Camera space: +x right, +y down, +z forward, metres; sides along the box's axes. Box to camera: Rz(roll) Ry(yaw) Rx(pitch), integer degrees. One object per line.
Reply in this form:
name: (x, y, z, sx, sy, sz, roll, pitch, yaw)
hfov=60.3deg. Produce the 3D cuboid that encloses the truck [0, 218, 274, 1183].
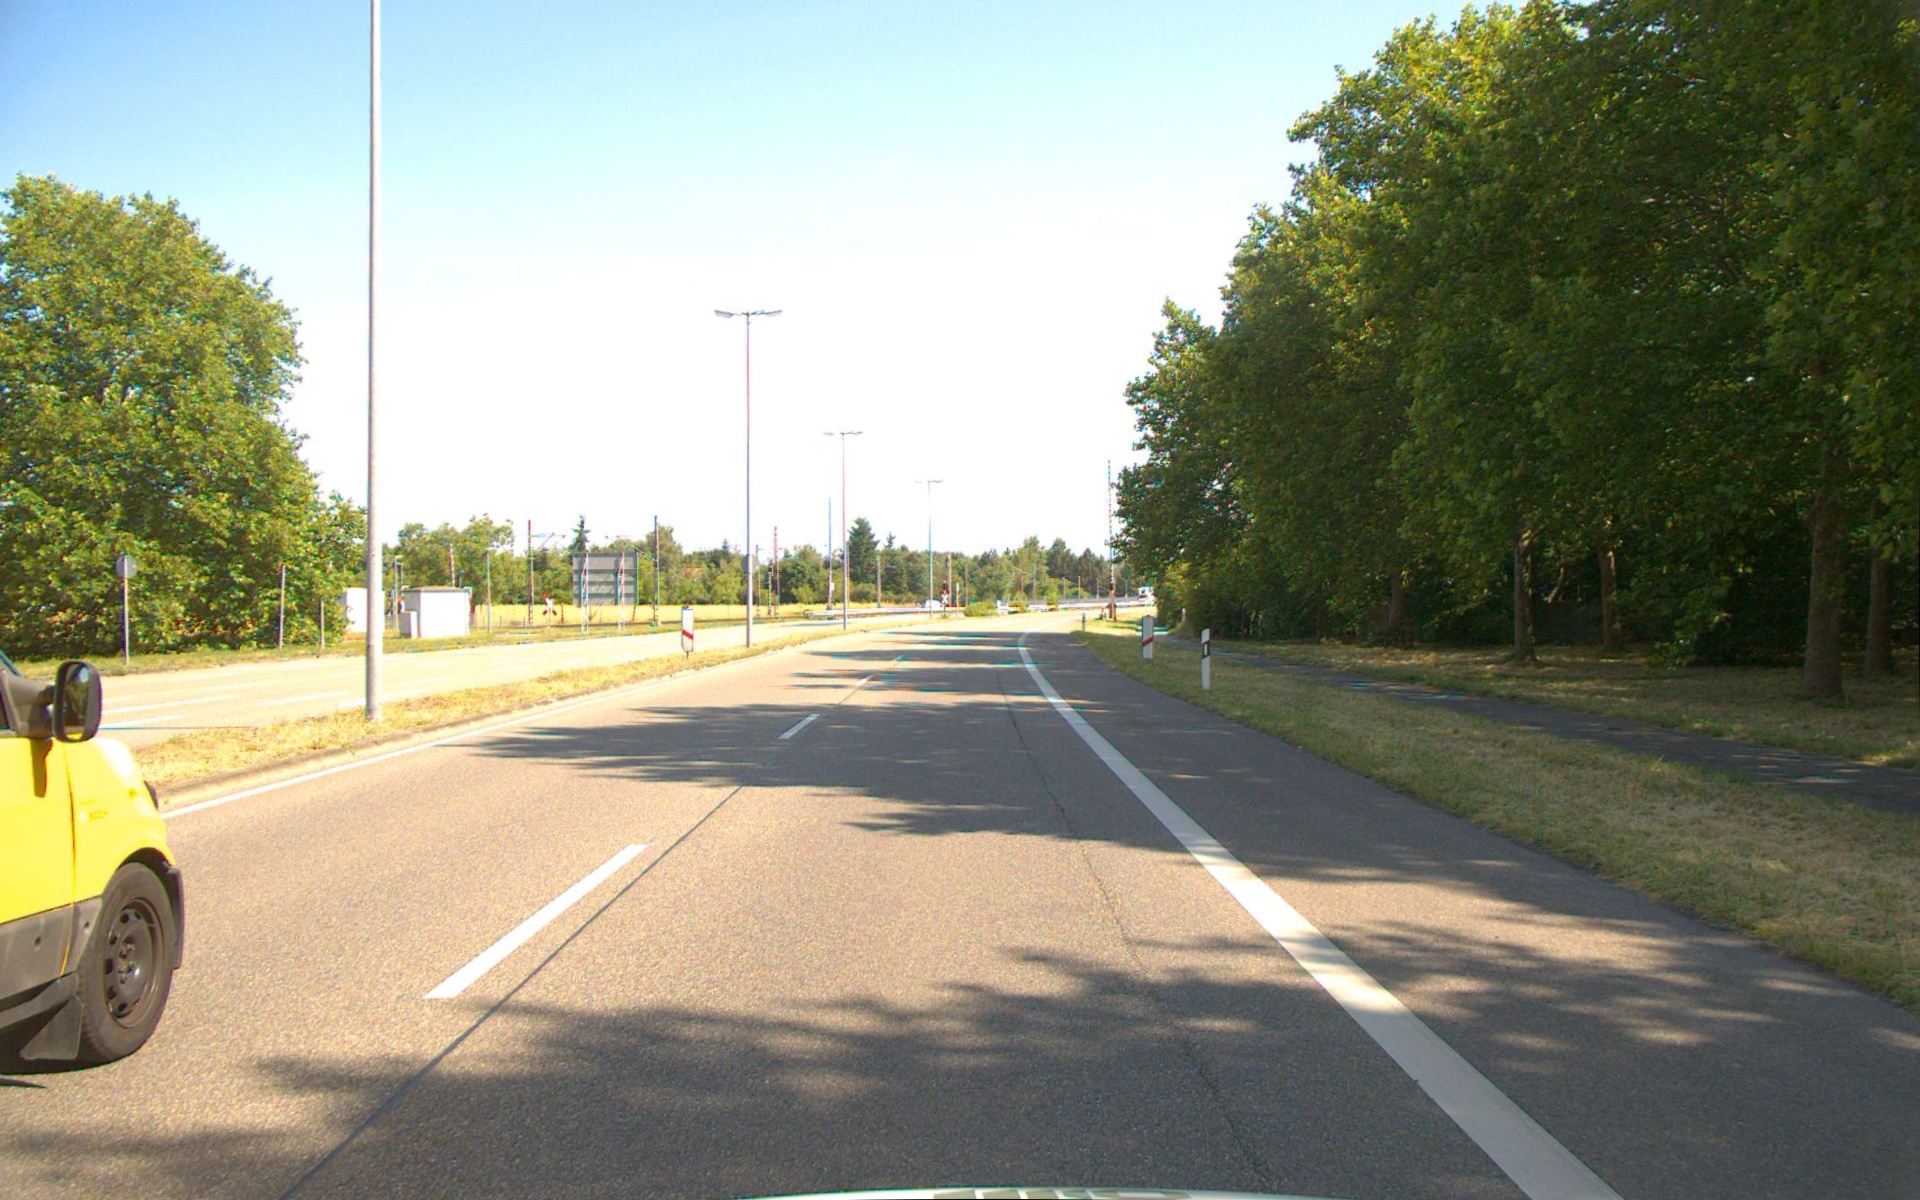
truck: (-3.482, 0.255, 3.110, 2.069, 2.500, 5.914, 0, 0, -2)
